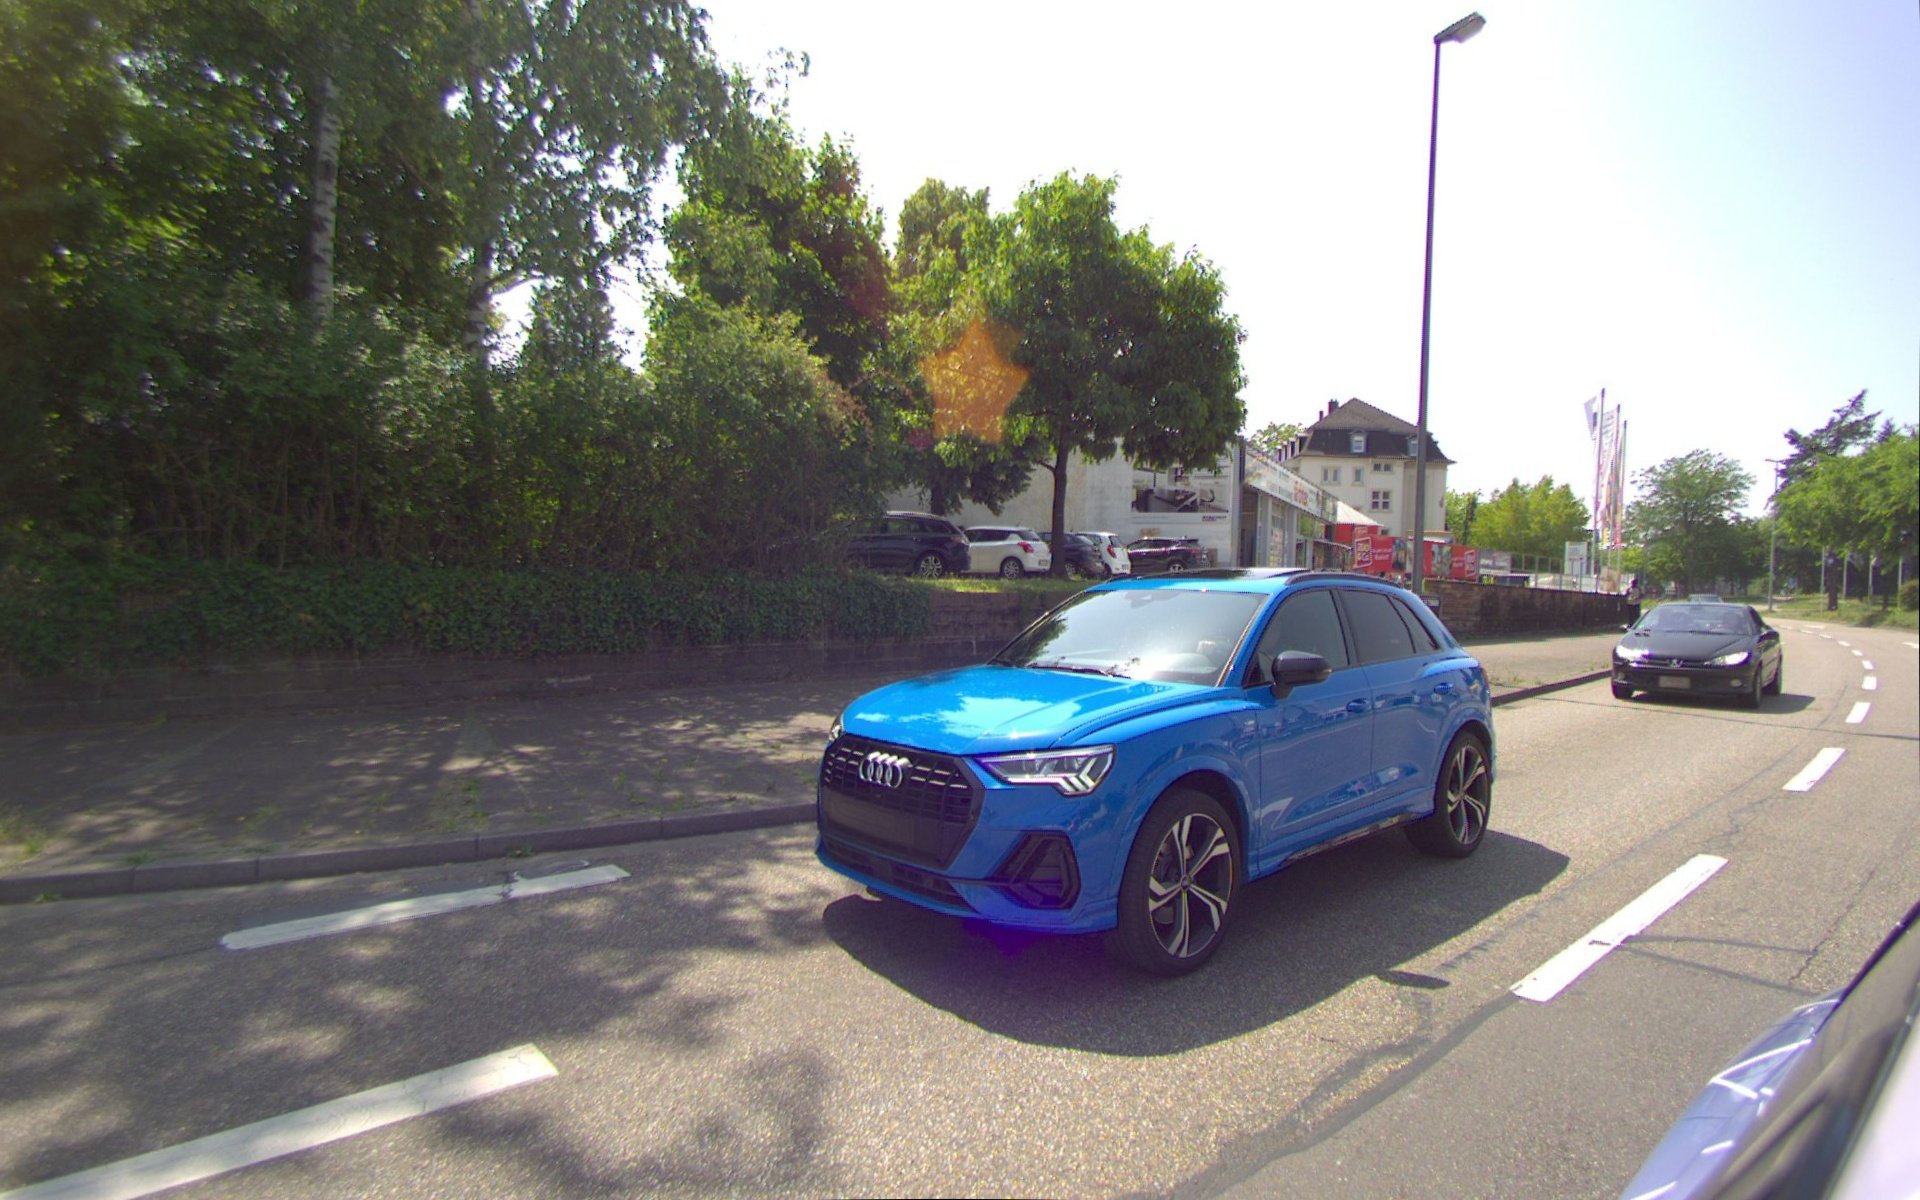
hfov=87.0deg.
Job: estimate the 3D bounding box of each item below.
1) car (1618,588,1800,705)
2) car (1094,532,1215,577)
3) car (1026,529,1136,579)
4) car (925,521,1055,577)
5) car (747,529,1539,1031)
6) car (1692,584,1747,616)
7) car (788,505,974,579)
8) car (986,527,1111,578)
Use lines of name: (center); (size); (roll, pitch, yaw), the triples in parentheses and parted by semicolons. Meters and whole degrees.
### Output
car: (10.811, 0.565, 14.525); (1.601, 1.443, 3.602); (1, 1, 45)
car: (6.999, -1.628, 36.474); (3.967, 1.559, 1.720); (2, 1, 31)
car: (3.807, -1.444, 31.934); (3.133, 1.490, 1.485); (2, 1, 34)
car: (0.813, -1.365, 27.727); (3.264, 1.429, 1.513); (1, 1, 31)
car: (1.259, 0.572, 5.422); (4.319, 1.617, 1.916); (0, 1, -42)
car: (39.376, -0.034, 52.569); (1.684, 1.390, 3.962); (2, 4, 29)
car: (-1.776, -1.241, 22.338); (3.768, 1.502, 2.004); (-1, 0, -15)
car: (2.599, -1.365, 29.726); (3.294, 1.403, 1.641); (1, 1, 31)
